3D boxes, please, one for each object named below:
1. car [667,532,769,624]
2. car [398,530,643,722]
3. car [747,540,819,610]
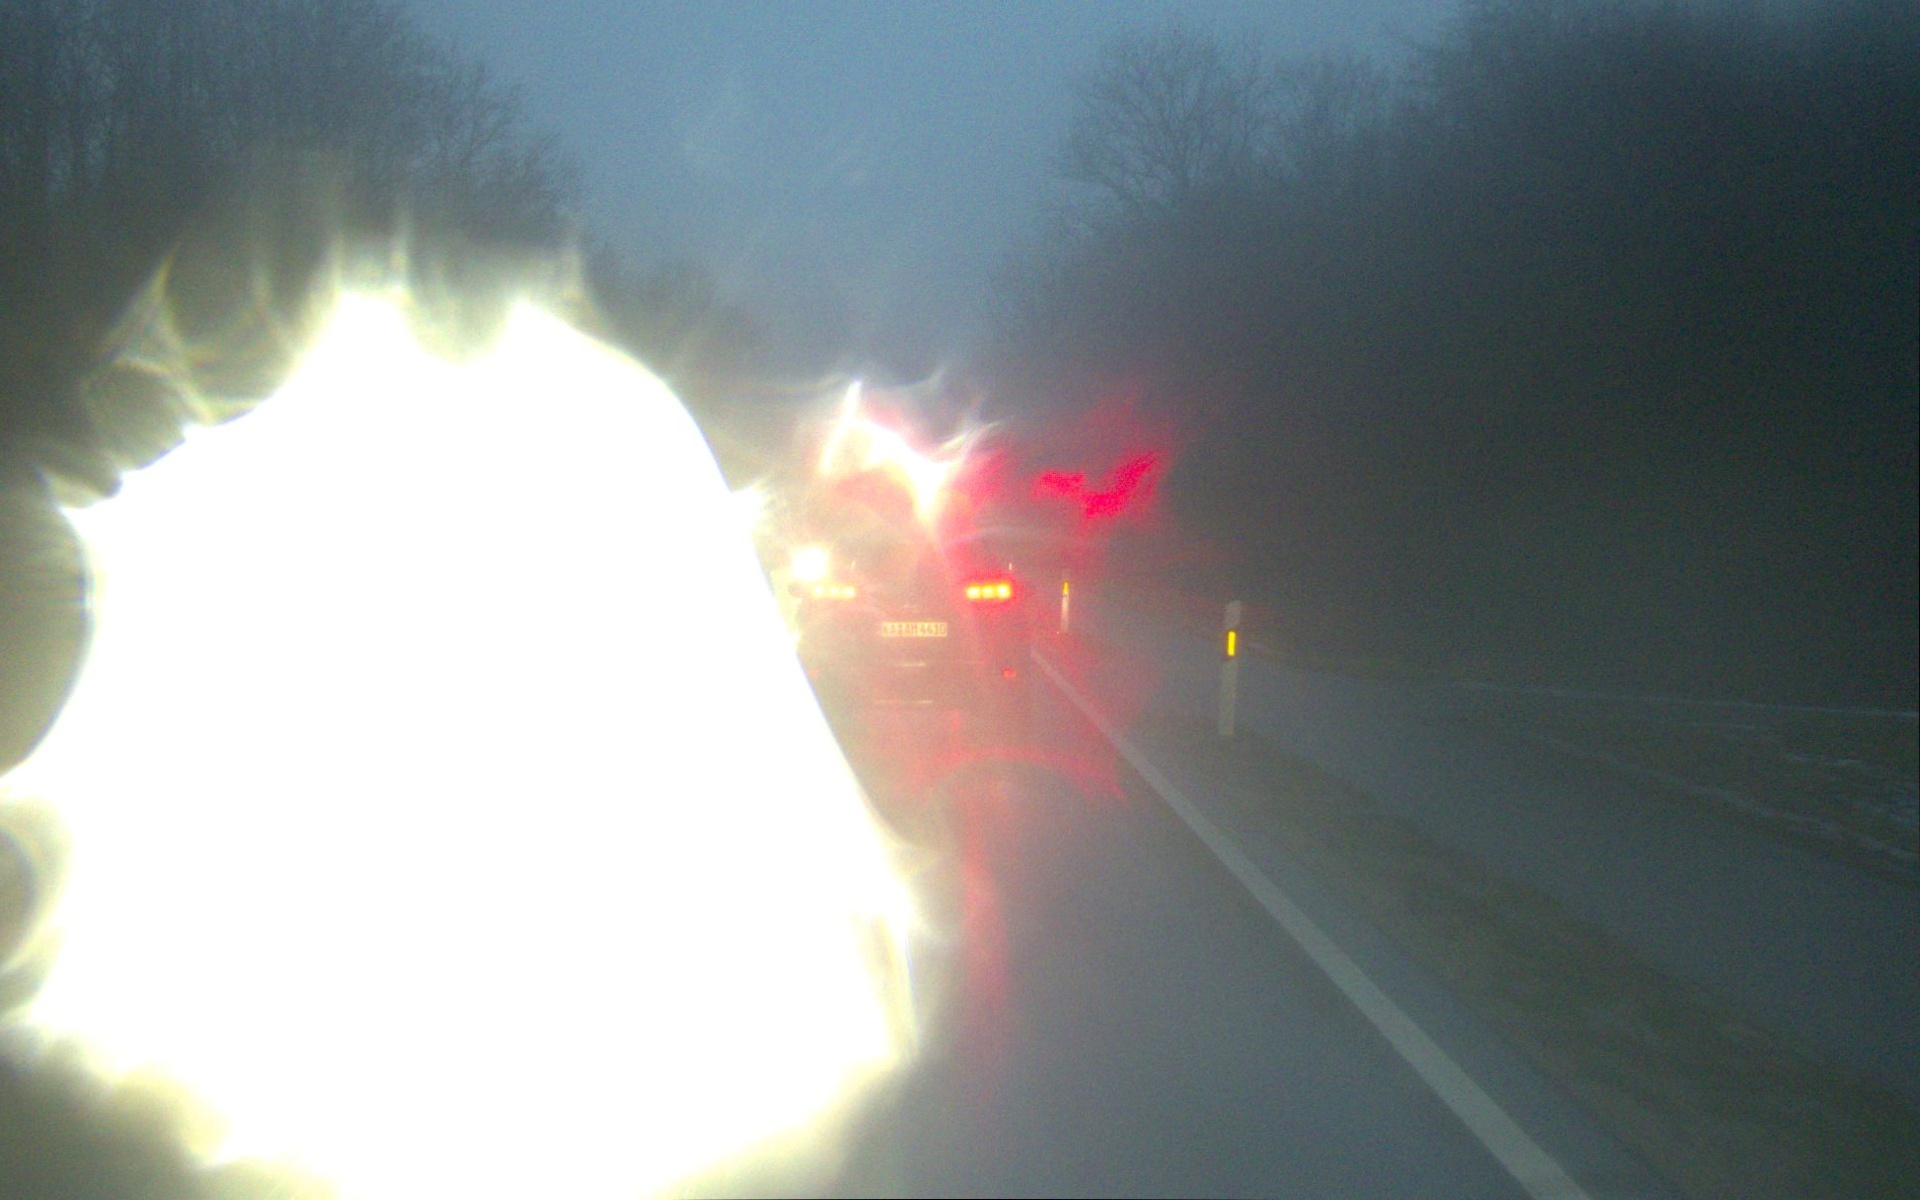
[{"bbox_3d":[-4.321,-0.404,61.756,1.581,1.545,4.000,-2,1,-1],"label":"car"},{"bbox_3d":[-3.945,0.196,31.436,1.741,1.629,4.000,-1,1,0],"label":"car"},{"bbox_3d":[-4.764,-0.688,92.891,1.706,1.816,4.286,-1,1,0],"label":"car"}]
